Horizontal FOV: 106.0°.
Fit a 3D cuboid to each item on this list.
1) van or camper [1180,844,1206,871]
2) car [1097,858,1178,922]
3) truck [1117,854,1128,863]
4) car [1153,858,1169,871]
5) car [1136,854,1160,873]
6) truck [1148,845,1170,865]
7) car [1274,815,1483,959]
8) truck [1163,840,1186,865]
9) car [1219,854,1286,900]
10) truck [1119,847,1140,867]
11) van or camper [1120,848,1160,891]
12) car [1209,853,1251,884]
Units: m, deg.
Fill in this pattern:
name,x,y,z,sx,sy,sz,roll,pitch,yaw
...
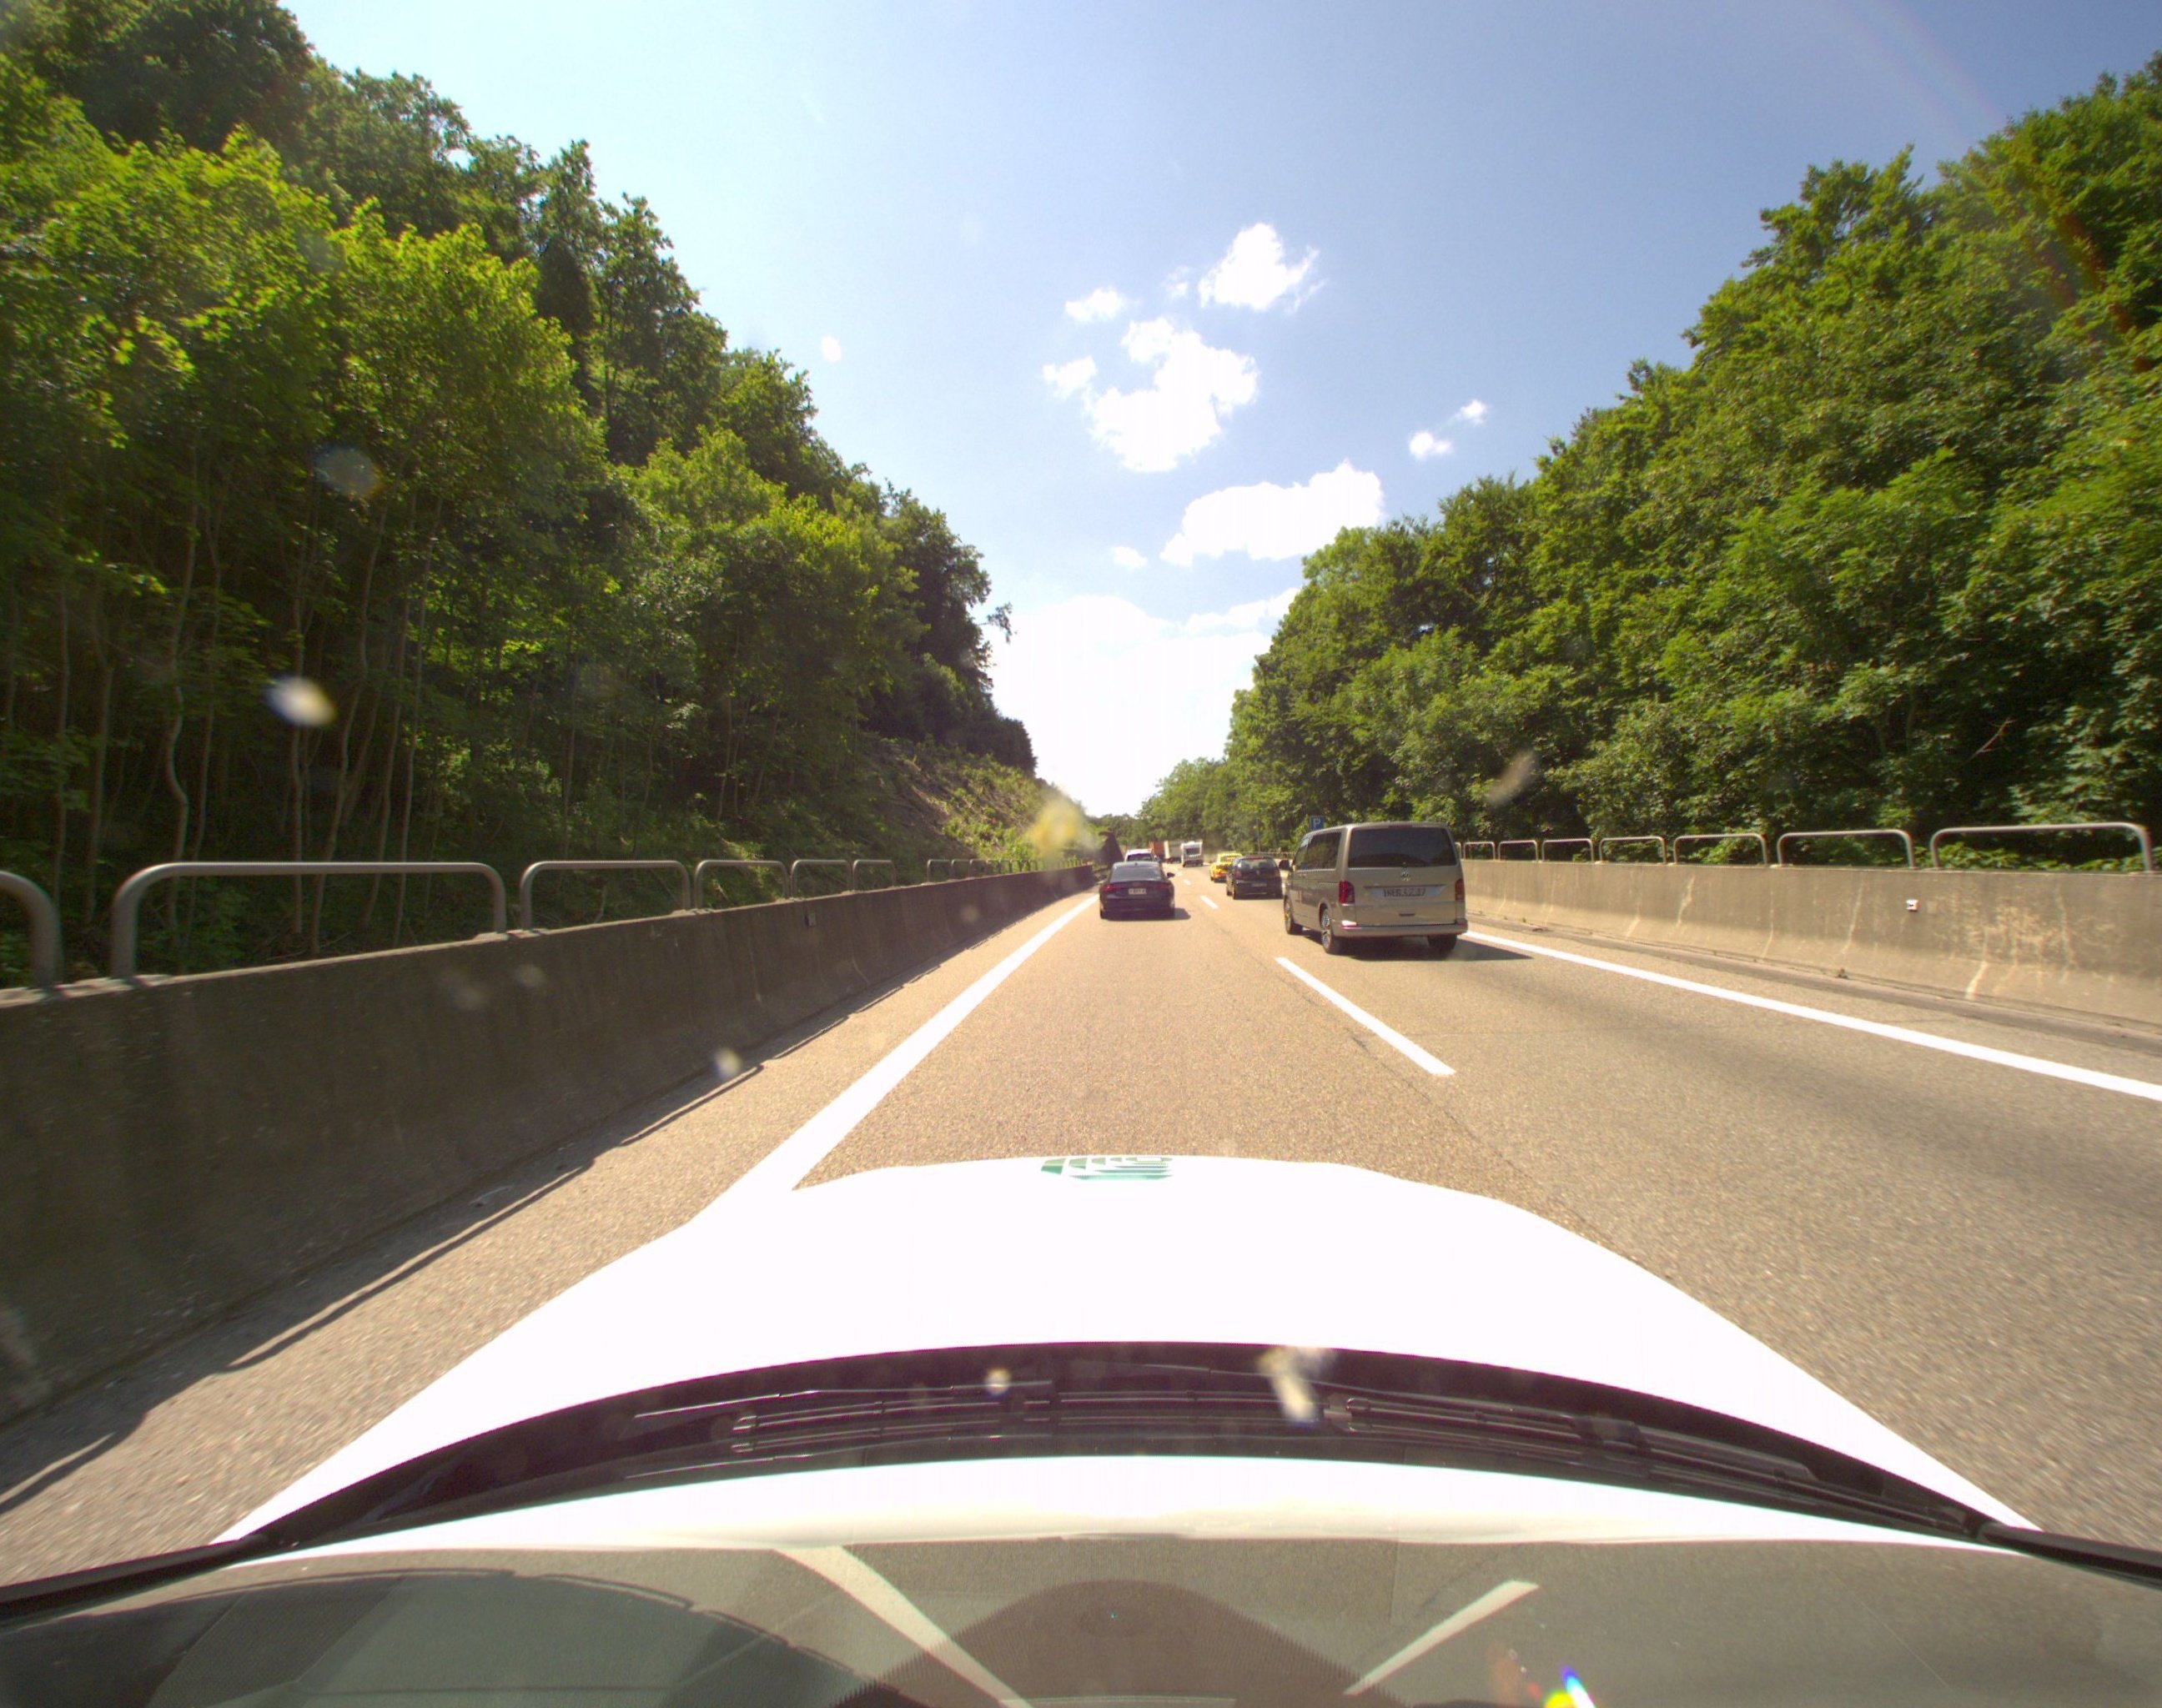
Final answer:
name,x,y,z,sx,sy,sz,roll,pitch,yaw
van or camper,12.286,0.404,89.670,2.591,2.855,6.345,-2,-1,6
car,1.472,0.871,21.573,1.897,1.489,4.383,-2,-1,3
truck,8.743,0.950,172.449,1.988,2.013,3.997,-2,0,-2
car,9.445,1.229,96.318,1.743,1.571,3.774,-2,-1,4
car,6.108,0.869,74.685,1.888,1.584,3.771,-2,0,1
truck,13.955,0.189,146.339,3.153,3.468,8.219,-1,-1,0
car,4.639,0.467,13.554,1.932,1.931,4.698,-1,-1,3
truck,14.334,-0.238,125.410,2.914,3.687,7.726,-1,-1,2
car,5.871,0.757,28.256,1.678,1.458,4.003,-2,-1,3
truck,11.004,0.641,186.707,3.705,4.504,7.709,-1,-1,-5
van or camper,2.980,0.742,40.481,1.844,1.942,4.171,-2,-1,5
car,7.681,0.739,42.350,1.799,1.478,4.088,-2,-1,6
